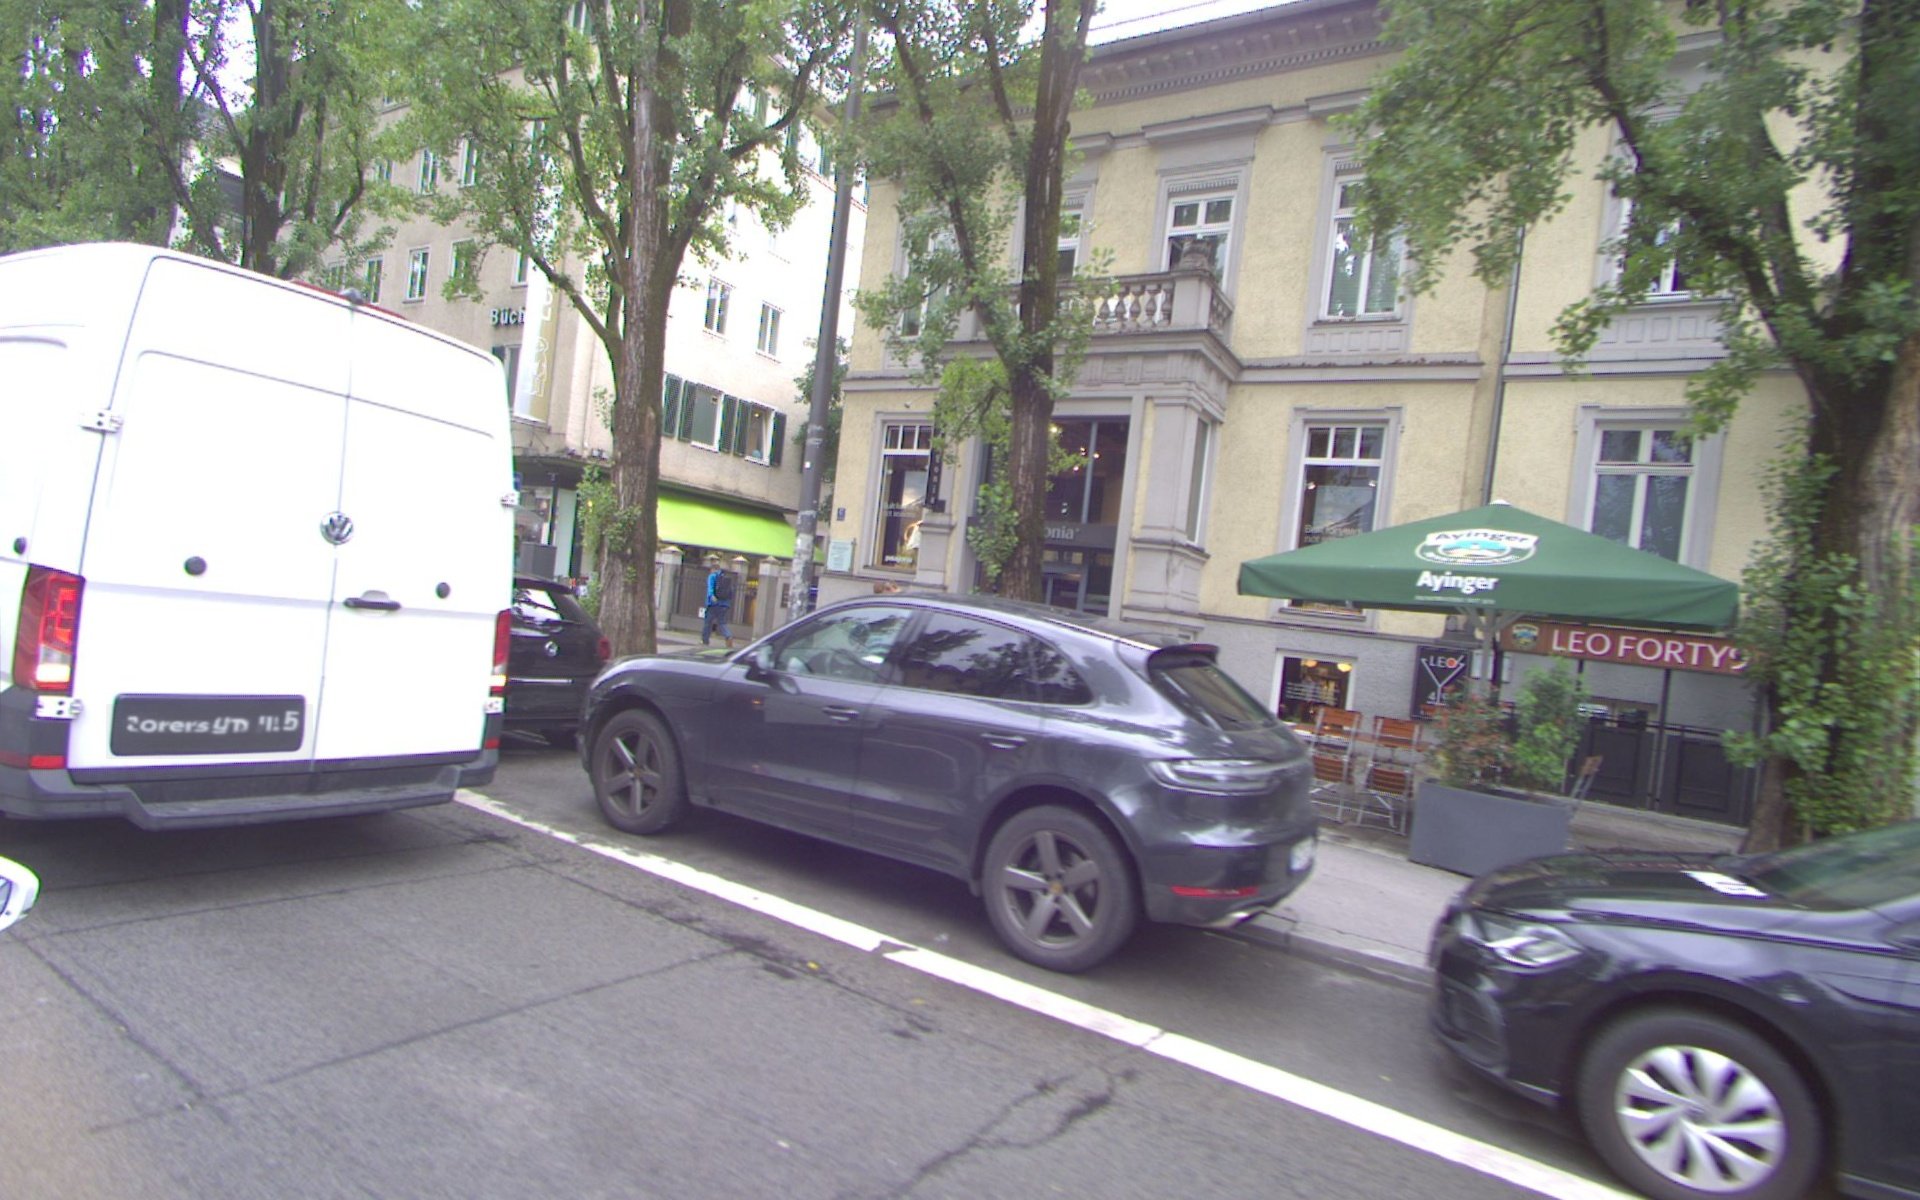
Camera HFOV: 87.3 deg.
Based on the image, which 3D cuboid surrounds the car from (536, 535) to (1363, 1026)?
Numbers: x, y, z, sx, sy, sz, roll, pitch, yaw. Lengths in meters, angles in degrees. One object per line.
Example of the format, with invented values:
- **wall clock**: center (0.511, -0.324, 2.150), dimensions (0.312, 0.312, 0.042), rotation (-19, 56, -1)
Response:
- **car**: center (-0.192, 0.724, 5.871), dimensions (4.372, 1.657, 1.807), rotation (7, -1, 30)

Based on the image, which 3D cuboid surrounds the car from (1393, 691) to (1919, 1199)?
- **car**: center (3.652, 1.295, 3.215), dimensions (3.884, 1.434, 1.697), rotation (7, 0, 30)

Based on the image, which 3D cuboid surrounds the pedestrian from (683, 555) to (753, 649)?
- **pedestrian**: center (-4.717, 0.049, 19.614), dimensions (0.863, 1.698, 0.798), rotation (7, 1, 33)

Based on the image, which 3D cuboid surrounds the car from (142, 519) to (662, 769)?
- **car**: center (-4.815, 0.286, 8.567), dimensions (4.268, 1.410, 1.714), rotation (7, -1, 28)

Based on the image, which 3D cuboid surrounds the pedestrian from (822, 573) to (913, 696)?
- **pedestrian**: center (-1.370, 0.518, 14.926), dimensions (0.862, 1.698, 0.798), rotation (7, 1, 32)

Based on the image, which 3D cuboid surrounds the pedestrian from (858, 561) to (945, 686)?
- **pedestrian**: center (-0.910, 0.375, 15.642), dimensions (0.862, 1.818, 0.772), rotation (7, 1, 32)

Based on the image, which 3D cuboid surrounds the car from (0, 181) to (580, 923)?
- **car**: center (-5.409, -0.403, 6.020), dimensions (6.619, 2.522, 2.066), rotation (7, 0, 32)
